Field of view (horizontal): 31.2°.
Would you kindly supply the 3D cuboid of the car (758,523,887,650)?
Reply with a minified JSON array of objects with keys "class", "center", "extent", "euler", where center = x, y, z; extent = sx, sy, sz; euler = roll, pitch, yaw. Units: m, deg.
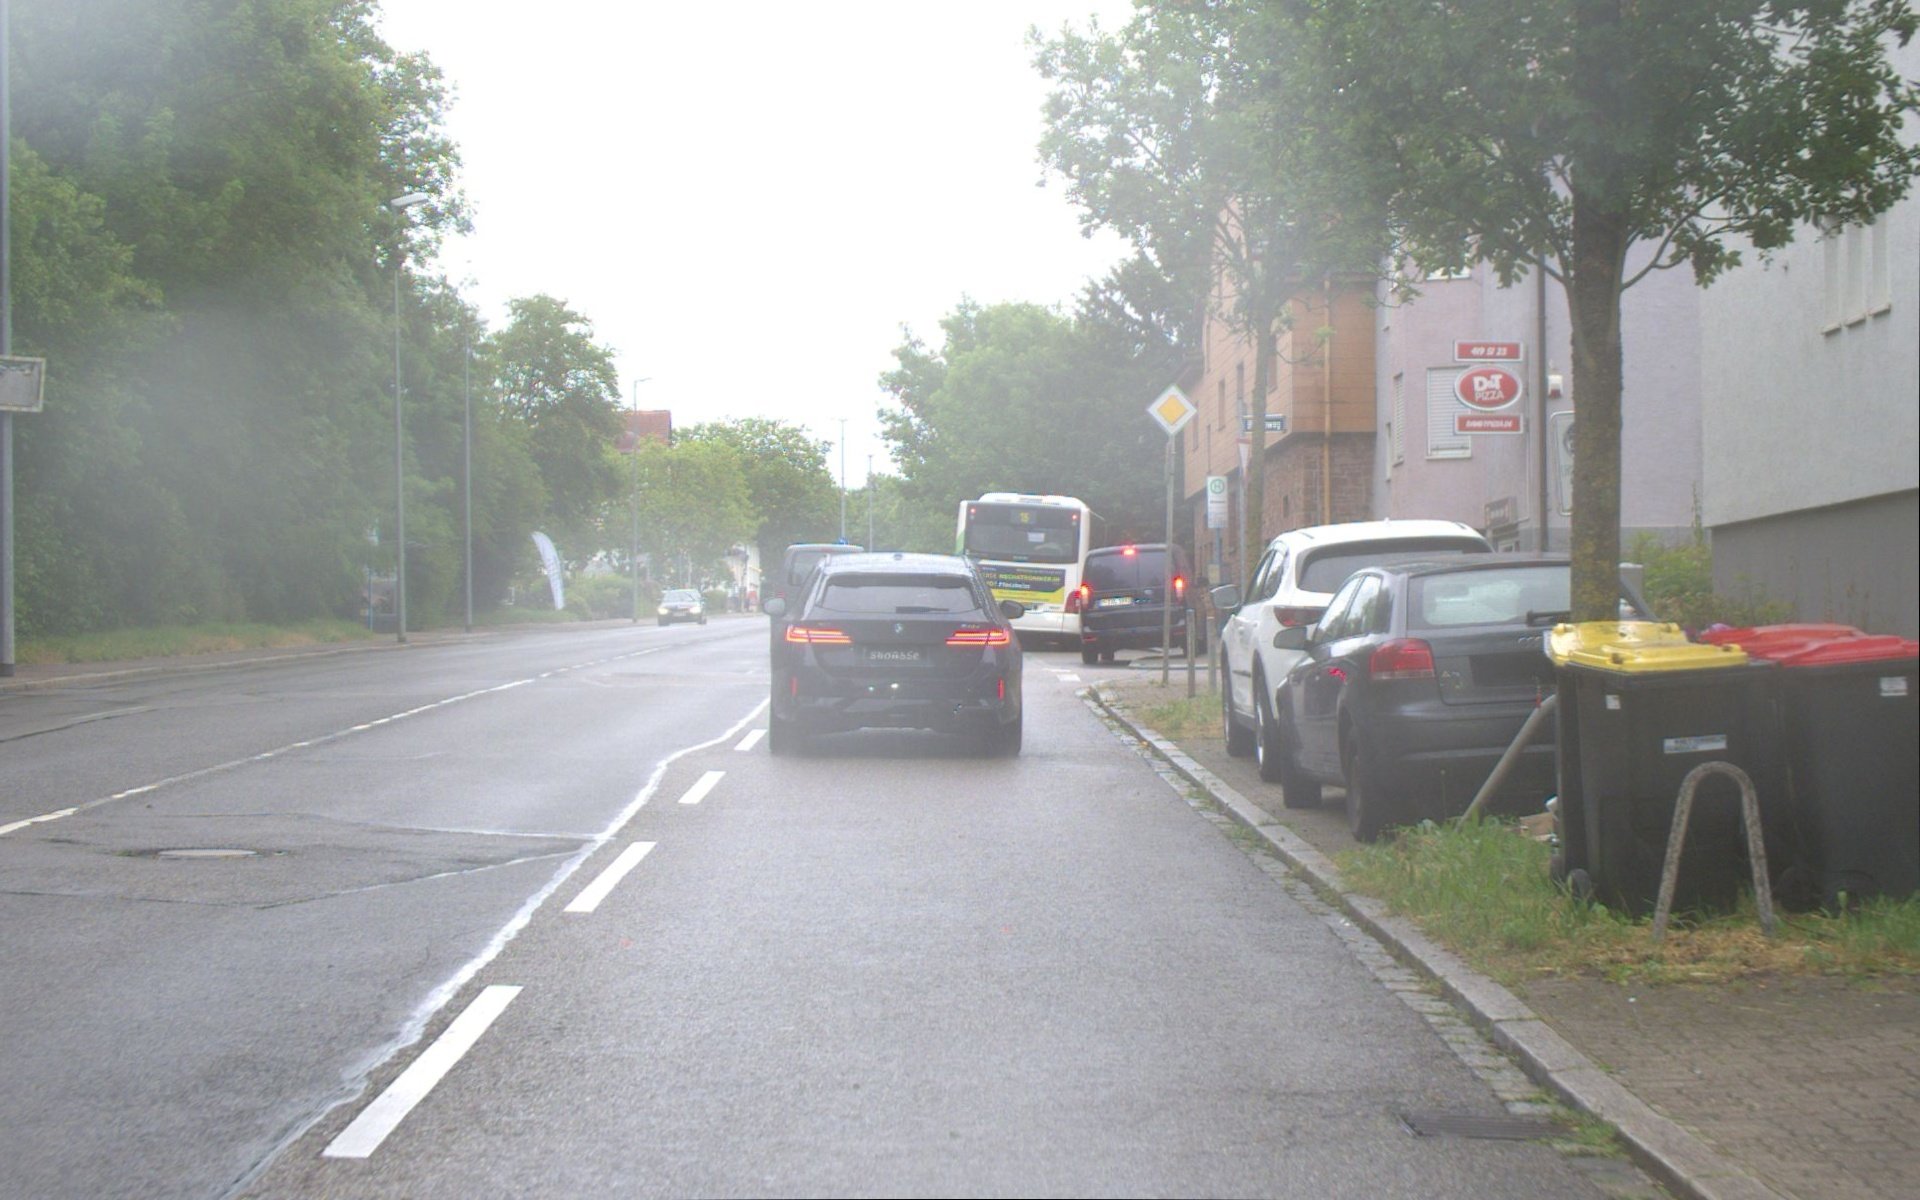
[{"class":"car","center":[-2.231,-0.247,56.705],"extent":[1.993,2.007,4.000],"euler":[0,1,-1]}]

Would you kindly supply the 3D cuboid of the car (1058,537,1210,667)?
[{"class":"car","center":[2.857,0.026,55.400],"extent":[1.927,1.886,4.759],"euler":[-4,0,8]}]

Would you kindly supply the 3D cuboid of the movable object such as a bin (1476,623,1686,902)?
[{"class":"movable object such as a bin","center":[2.509,0.643,13.956],"extent":[0.619,1.046,0.822],"euler":[-3,1,-3]}]

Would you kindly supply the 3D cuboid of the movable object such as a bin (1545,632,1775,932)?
[{"class":"movable object such as a bin","center":[2.647,0.675,13.059],"extent":[0.619,1.046,0.822],"euler":[-3,1,-3]}]

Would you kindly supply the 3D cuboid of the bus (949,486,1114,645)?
[{"class":"bus","center":[1.492,-0.723,67.072],"extent":[2.623,2.838,8.287],"euler":[-1,1,5]}]

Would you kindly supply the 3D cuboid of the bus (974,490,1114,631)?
[{"class":"bus","center":[1.759,-0.918,76.063],"extent":[2.623,2.838,9.795],"euler":[-2,1,-1]}]

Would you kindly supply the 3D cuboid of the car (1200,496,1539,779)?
[{"class":"car","center":[2.768,0.189,24.161],"extent":[1.824,1.766,4.541],"euler":[-1,1,0]}]

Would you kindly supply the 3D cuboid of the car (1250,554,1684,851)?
[{"class":"car","center":[2.656,0.477,18.854],"extent":[1.641,1.444,3.999],"euler":[-1,1,-2]}]

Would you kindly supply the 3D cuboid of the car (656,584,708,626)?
[{"class":"car","center":[-11.001,0.195,136.229],"extent":[1.770,1.528,4.000],"euler":[-2,1,-1]}]

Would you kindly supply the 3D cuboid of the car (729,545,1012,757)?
[{"class":"car","center":[-0.763,0.339,26.864],"extent":[1.993,1.448,4.001],"euler":[2,1,-3]}]

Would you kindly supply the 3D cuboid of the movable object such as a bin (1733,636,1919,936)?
[{"class":"movable object such as a bin","center":[3.378,0.689,13.047],"extent":[0.619,1.046,0.822],"euler":[-3,1,-3]}]

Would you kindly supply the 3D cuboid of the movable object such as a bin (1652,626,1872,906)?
[{"class":"movable object such as a bin","center":[3.248,0.657,13.968],"extent":[0.619,1.046,0.822],"euler":[-3,1,-3]}]
